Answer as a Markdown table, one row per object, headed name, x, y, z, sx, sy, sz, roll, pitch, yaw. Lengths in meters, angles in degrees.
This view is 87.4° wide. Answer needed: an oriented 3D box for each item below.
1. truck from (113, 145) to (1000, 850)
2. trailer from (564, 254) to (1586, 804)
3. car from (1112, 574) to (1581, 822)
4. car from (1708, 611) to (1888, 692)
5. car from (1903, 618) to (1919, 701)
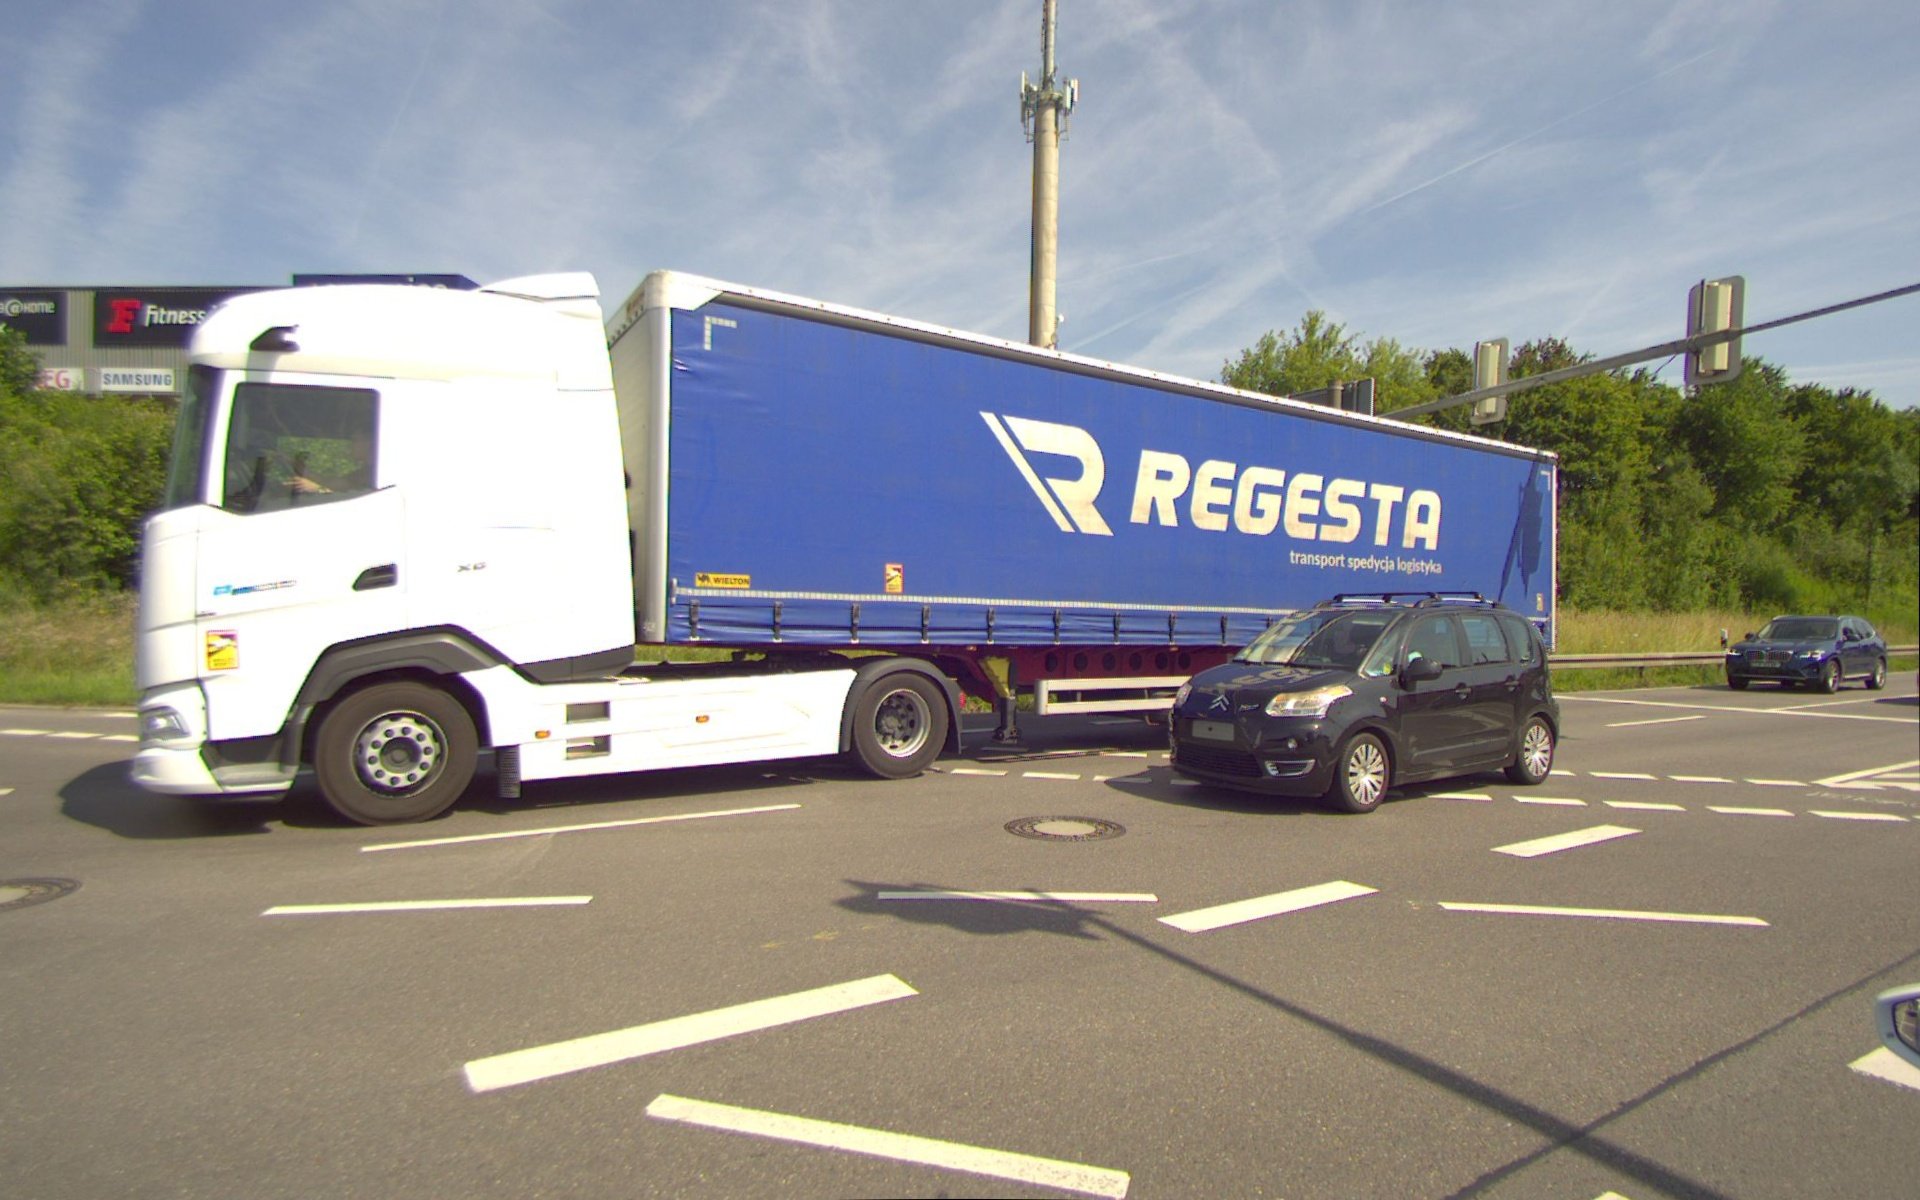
| name | x | y | z | sx | sy | sz | roll | pitch | yaw |
| --- | --- | --- | --- | --- | --- | --- | --- | --- | --- |
| truck | -3.117 | -0.545 | 8.931 | 6.276 | 4.134 | 3.170 | 1 | -1 | -32 |
| trailer | 2.695 | -0.420 | 12.626 | 13.971 | 4.134 | 3.076 | 1 | -1 | -32 |
| car | 3.520 | 0.727 | 9.008 | 3.956 | 1.749 | 1.983 | 1 | -1 | -32 |
| car | 19.180 | 1.119 | 22.948 | 4.260 | 1.699 | 1.982 | 1 | -1 | -33 |
| car | 19.437 | 1.111 | 18.863 | 3.958 | 1.522 | 1.715 | 1 | -1 | -34 |
